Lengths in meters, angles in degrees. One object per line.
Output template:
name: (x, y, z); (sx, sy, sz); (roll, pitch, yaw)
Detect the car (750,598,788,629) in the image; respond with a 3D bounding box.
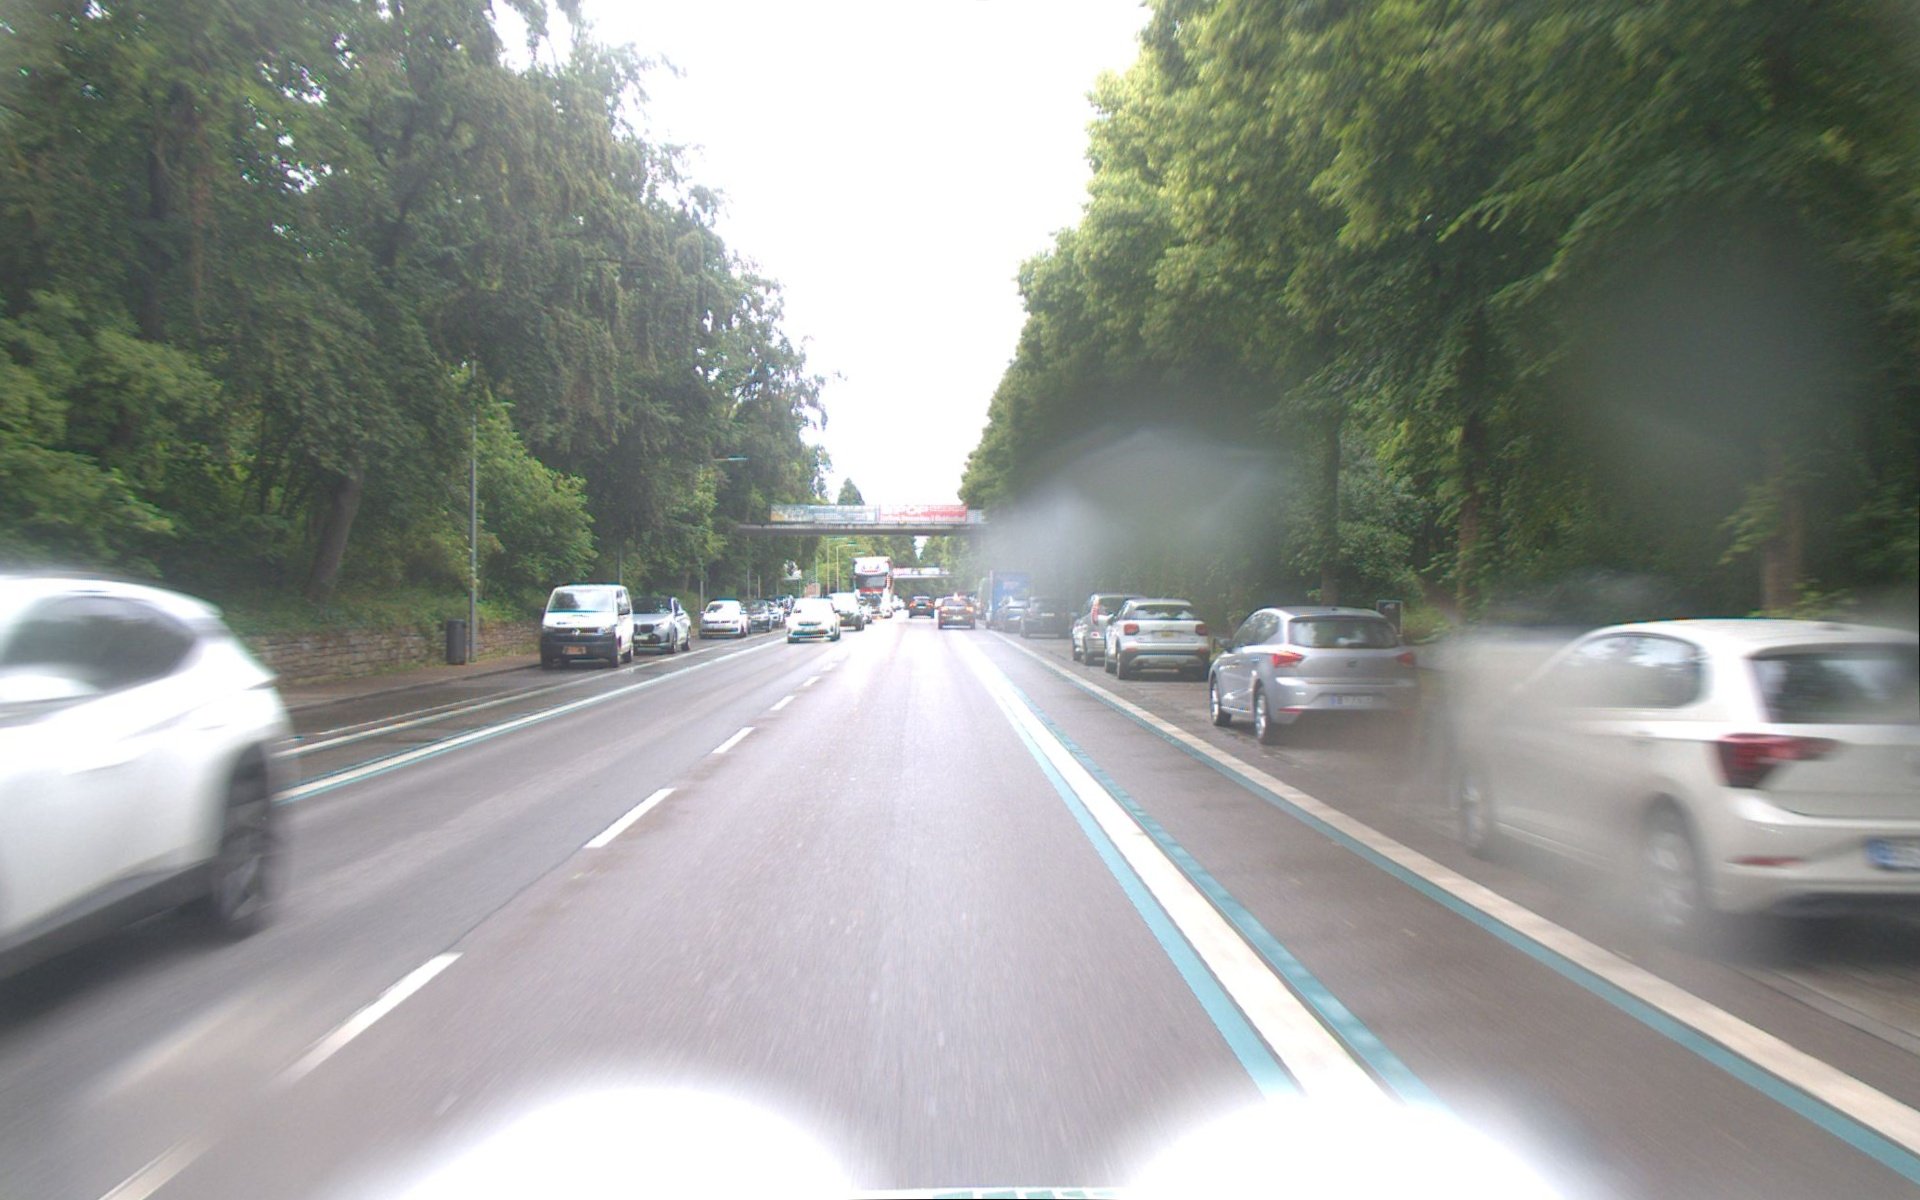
car: (-10.183, 0.704, 88.304); (1.654, 1.573, 4.231); (-1, 1, -2)

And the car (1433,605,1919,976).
car: (3.978, 0.792, 8.728); (1.664, 1.479, 3.944); (1, 0, -3)

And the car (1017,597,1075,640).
car: (3.193, 0.676, 61.864); (1.789, 1.529, 4.569); (-1, 0, -2)

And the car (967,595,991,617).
car: (1.481, 0.447, 128.648); (1.720, 1.617, 4.497); (1, 0, -1)

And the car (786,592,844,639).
car: (-5.018, 0.523, 57.664); (1.740, 1.491, 4.061); (-3, 0, -2)

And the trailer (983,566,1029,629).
trailer: (2.089, -0.112, 76.559); (1.913, 2.807, 4.006); (0, 0, -1)

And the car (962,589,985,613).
car: (1.223, 0.051, 147.066); (1.887, 2.057, 4.662); (1, 0, -1)

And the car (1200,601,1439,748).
car: (3.987, 0.768, 19.006); (1.664, 1.479, 4.095); (1, 0, -3)

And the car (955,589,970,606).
car: (0.276, -0.303, 207.251); (1.850, 2.164, 4.044); (-1, 0, 0)

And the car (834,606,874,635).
car: (-5.827, 1.113, 91.432); (1.876, 1.482, 4.620); (-2, 0, -1)

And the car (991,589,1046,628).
car: (2.451, 0.322, 70.787); (1.862, 1.574, 4.752); (1, 0, -4)

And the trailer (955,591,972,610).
trailer: (0.352, 0.045, 190.400); (1.845, 2.204, 3.807); (-1, 0, -1)

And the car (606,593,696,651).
car: (-9.303, 0.633, 50.145); (1.970, 1.633, 4.777); (-1, 0, -2)

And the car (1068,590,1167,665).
car: (3.608, 0.602, 38.577); (1.718, 1.625, 4.738); (0, 0, -2)

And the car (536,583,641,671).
car: (-9.187, 0.609, 41.244); (1.935, 2.040, 5.012); (0, 0, -6)

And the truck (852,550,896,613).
truck: (-5.855, -1.220, 113.623); (2.466, 4.117, 4.917); (-3, 0, 1)

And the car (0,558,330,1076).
car: (-4.085, 0.706, 6.094); (1.914, 1.667, 4.443); (-1, 1, -2)

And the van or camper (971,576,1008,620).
van or camper: (1.893, -0.133, 107.549); (2.001, 2.777, 6.897); (1, 0, -2)

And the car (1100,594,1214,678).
car: (3.834, 0.663, 32.858); (1.663, 1.540, 4.468); (1, 0, -1)

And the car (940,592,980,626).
car: (0.001, 0.397, 76.903); (1.781, 1.534, 4.138); (0, 0, 0)

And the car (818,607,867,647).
car: (-5.199, 1.188, 73.822); (1.921, 1.645, 4.464); (-1, 0, -1)

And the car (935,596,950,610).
car: (-2.201, 0.390, 207.801); (1.696, 1.611, 4.035); (-1, 0, -2)

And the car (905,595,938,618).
car: (-2.654, 0.454, 113.976); (2.097, 1.518, 4.495); (1, 0, -3)

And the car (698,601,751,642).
car: (-9.479, 0.839, 66.798); (1.753, 1.508, 3.980); (-1, 1, -3)

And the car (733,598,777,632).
car: (-9.571, 0.667, 77.432); (1.795, 1.502, 4.037); (-1, 0, -4)
